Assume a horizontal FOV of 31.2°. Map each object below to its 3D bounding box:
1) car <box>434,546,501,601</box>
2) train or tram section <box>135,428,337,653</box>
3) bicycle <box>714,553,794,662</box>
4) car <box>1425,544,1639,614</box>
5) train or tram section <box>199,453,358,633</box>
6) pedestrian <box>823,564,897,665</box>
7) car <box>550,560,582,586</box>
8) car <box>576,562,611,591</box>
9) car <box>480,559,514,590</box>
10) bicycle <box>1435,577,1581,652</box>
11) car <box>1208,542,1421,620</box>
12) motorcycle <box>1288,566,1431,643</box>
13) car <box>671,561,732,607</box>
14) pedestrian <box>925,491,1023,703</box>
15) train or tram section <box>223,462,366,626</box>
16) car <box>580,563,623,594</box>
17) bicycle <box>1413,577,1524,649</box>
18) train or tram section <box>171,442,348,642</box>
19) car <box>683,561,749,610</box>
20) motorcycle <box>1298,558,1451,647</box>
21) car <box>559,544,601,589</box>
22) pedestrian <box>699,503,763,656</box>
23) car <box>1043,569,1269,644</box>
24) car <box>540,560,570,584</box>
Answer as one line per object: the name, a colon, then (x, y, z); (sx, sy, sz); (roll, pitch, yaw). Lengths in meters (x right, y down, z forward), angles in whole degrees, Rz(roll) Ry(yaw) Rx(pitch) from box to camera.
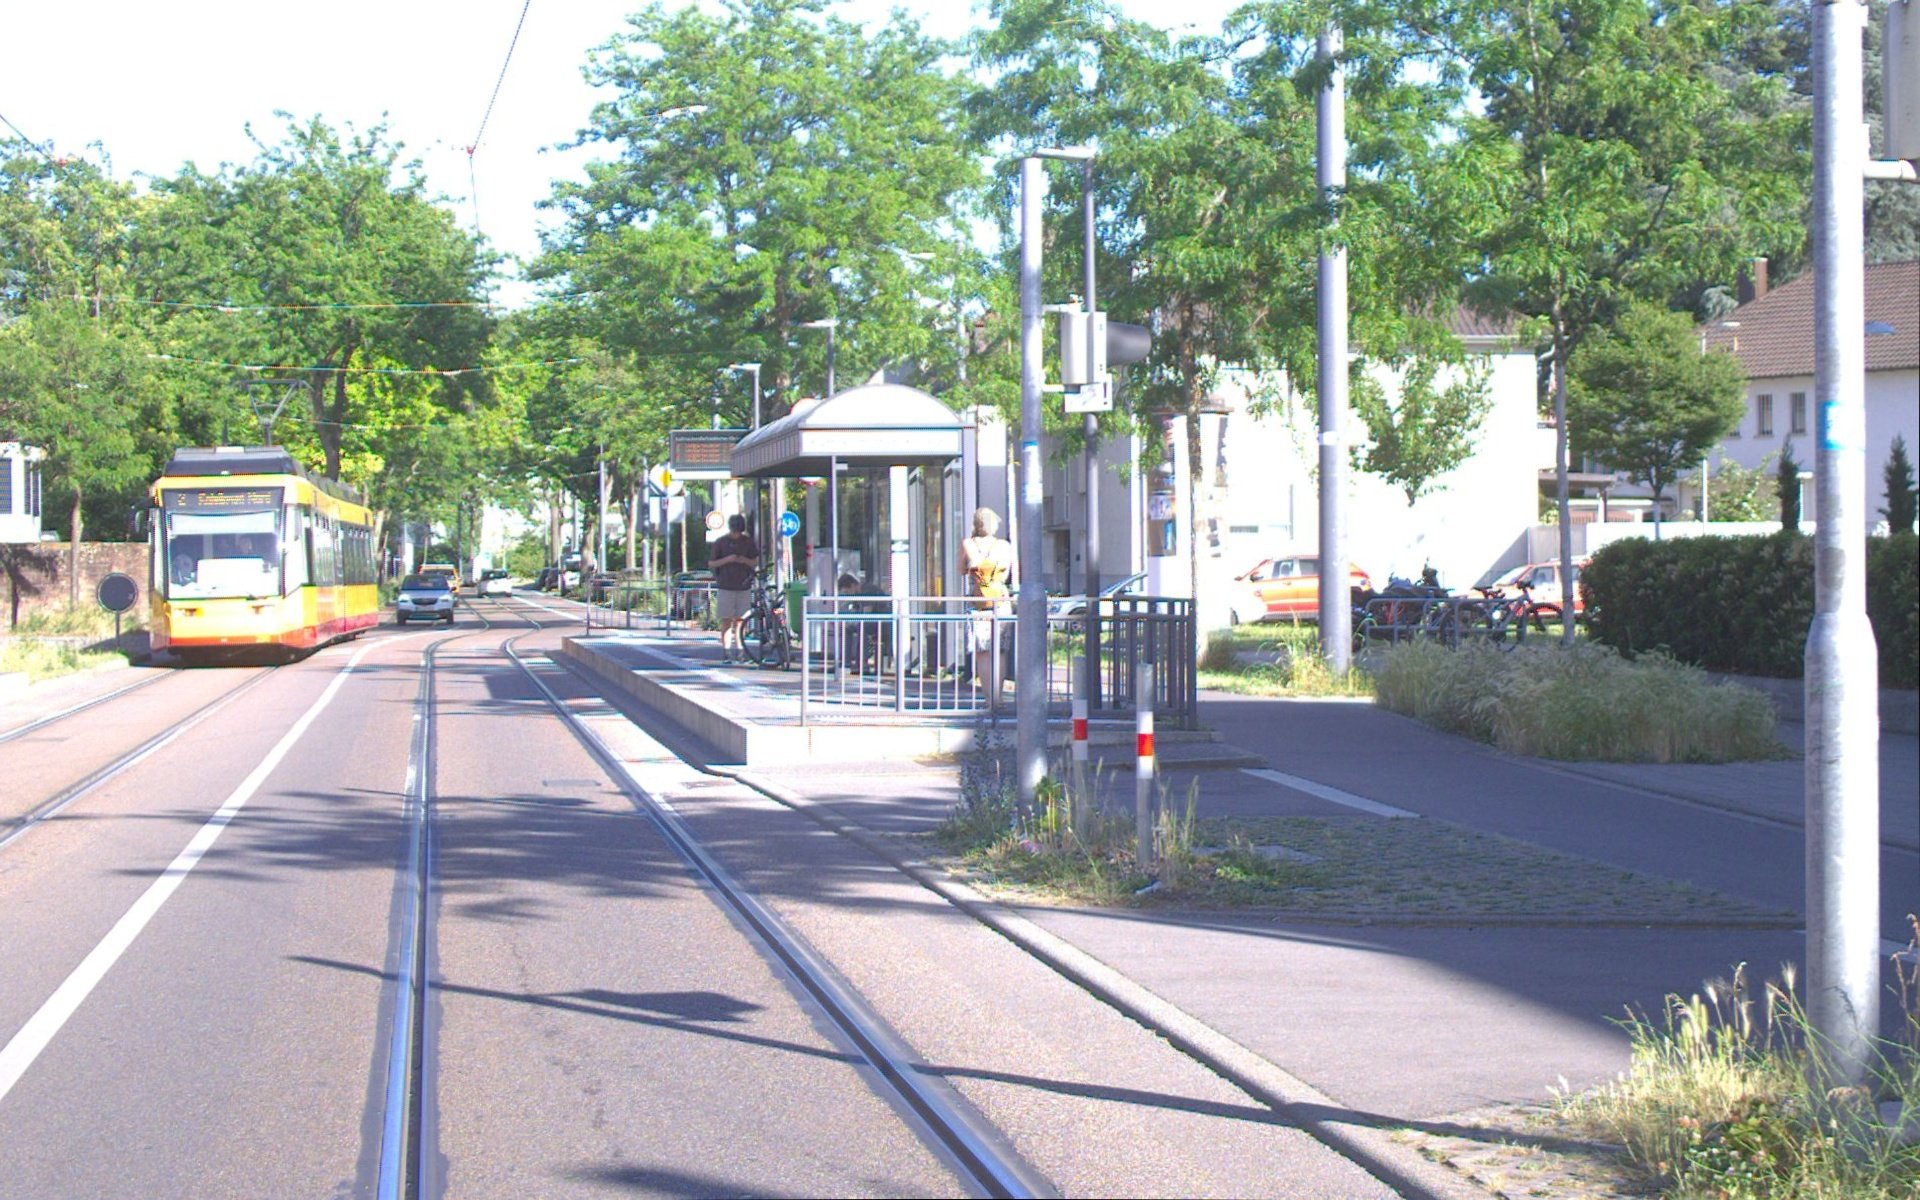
car: (-15.377, -0.835, 107.507); (1.764, 1.658, 4.211); (-1, 1, -4)
train or tram section: (-11.729, -0.962, 56.181); (2.803, 3.448, 6.670); (0, 1, -8)
bicycle: (-2.381, 0.073, 39.619); (0.619, 1.225, 1.967); (0, 0, -12)
car: (12.479, -0.472, 75.120); (4.161, 1.503, 1.983); (0, 1, -15)
train or tram section: (-13.683, -1.134, 69.421); (2.803, 3.448, 6.670); (0, 1, -8)
pedestrian: (-1.127, 0.162, 38.722); (0.738, 1.113, 0.658); (1, 0, -9)
car: (-27.241, -1.861, 237.663); (2.002, 1.669, 4.393); (-3, 1, -9)
car: (-19.711, -1.271, 184.710); (1.626, 1.393, 3.646); (-4, 1, -9)
car: (-26.094, -1.455, 193.758); (1.865, 1.669, 4.174); (-1, 1, -8)
bicycle: (7.408, 0.189, 46.464); (1.897, 0.975, 0.491); (-1, 1, -15)
car: (7.602, -0.422, 73.935); (4.161, 1.636, 1.982); (0, 1, -10)
motorcycle: (6.145, 0.061, 52.879); (1.997, 1.154, 0.862); (-1, 1, -15)
car: (-8.815, -0.570, 117.122); (1.748, 1.490, 3.997); (-2, 1, -9)
pedestrian: (0.110, -0.026, 28.035); (0.671, 1.699, 0.691); (1, 0, -9)
train or tram section: (-14.643, -1.225, 76.005); (2.803, 3.448, 6.670); (0, 1, -8)
car: (-18.285, -1.128, 175.023); (1.783, 1.443, 4.302); (-4, 1, -10)
bicycle: (7.083, 0.175, 47.917); (1.469, 0.975, 0.416); (-1, 1, -15)
train or tram section: (-12.706, -1.048, 62.799); (2.803, 3.448, 6.670); (0, 1, -8)
car: (-7.889, -0.482, 110.875); (1.748, 1.490, 4.444); (-2, 1, -9)
motorcycle: (6.169, 0.031, 51.247); (2.077, 1.270, 0.862); (-1, 1, -15)
car: (-22.754, -1.991, 205.604); (2.245, 2.645, 5.586); (-1, 1, -9)
pedestrian: (-2.805, -0.254, 42.096); (0.711, 1.847, 0.729); (1, 0, -7)
car: (4.043, 0.149, 71.246); (4.603, 1.461, 1.982); (-1, -1, 2)
car: (-30.044, -2.066, 254.992); (2.002, 1.669, 4.393); (-3, 1, -5)
